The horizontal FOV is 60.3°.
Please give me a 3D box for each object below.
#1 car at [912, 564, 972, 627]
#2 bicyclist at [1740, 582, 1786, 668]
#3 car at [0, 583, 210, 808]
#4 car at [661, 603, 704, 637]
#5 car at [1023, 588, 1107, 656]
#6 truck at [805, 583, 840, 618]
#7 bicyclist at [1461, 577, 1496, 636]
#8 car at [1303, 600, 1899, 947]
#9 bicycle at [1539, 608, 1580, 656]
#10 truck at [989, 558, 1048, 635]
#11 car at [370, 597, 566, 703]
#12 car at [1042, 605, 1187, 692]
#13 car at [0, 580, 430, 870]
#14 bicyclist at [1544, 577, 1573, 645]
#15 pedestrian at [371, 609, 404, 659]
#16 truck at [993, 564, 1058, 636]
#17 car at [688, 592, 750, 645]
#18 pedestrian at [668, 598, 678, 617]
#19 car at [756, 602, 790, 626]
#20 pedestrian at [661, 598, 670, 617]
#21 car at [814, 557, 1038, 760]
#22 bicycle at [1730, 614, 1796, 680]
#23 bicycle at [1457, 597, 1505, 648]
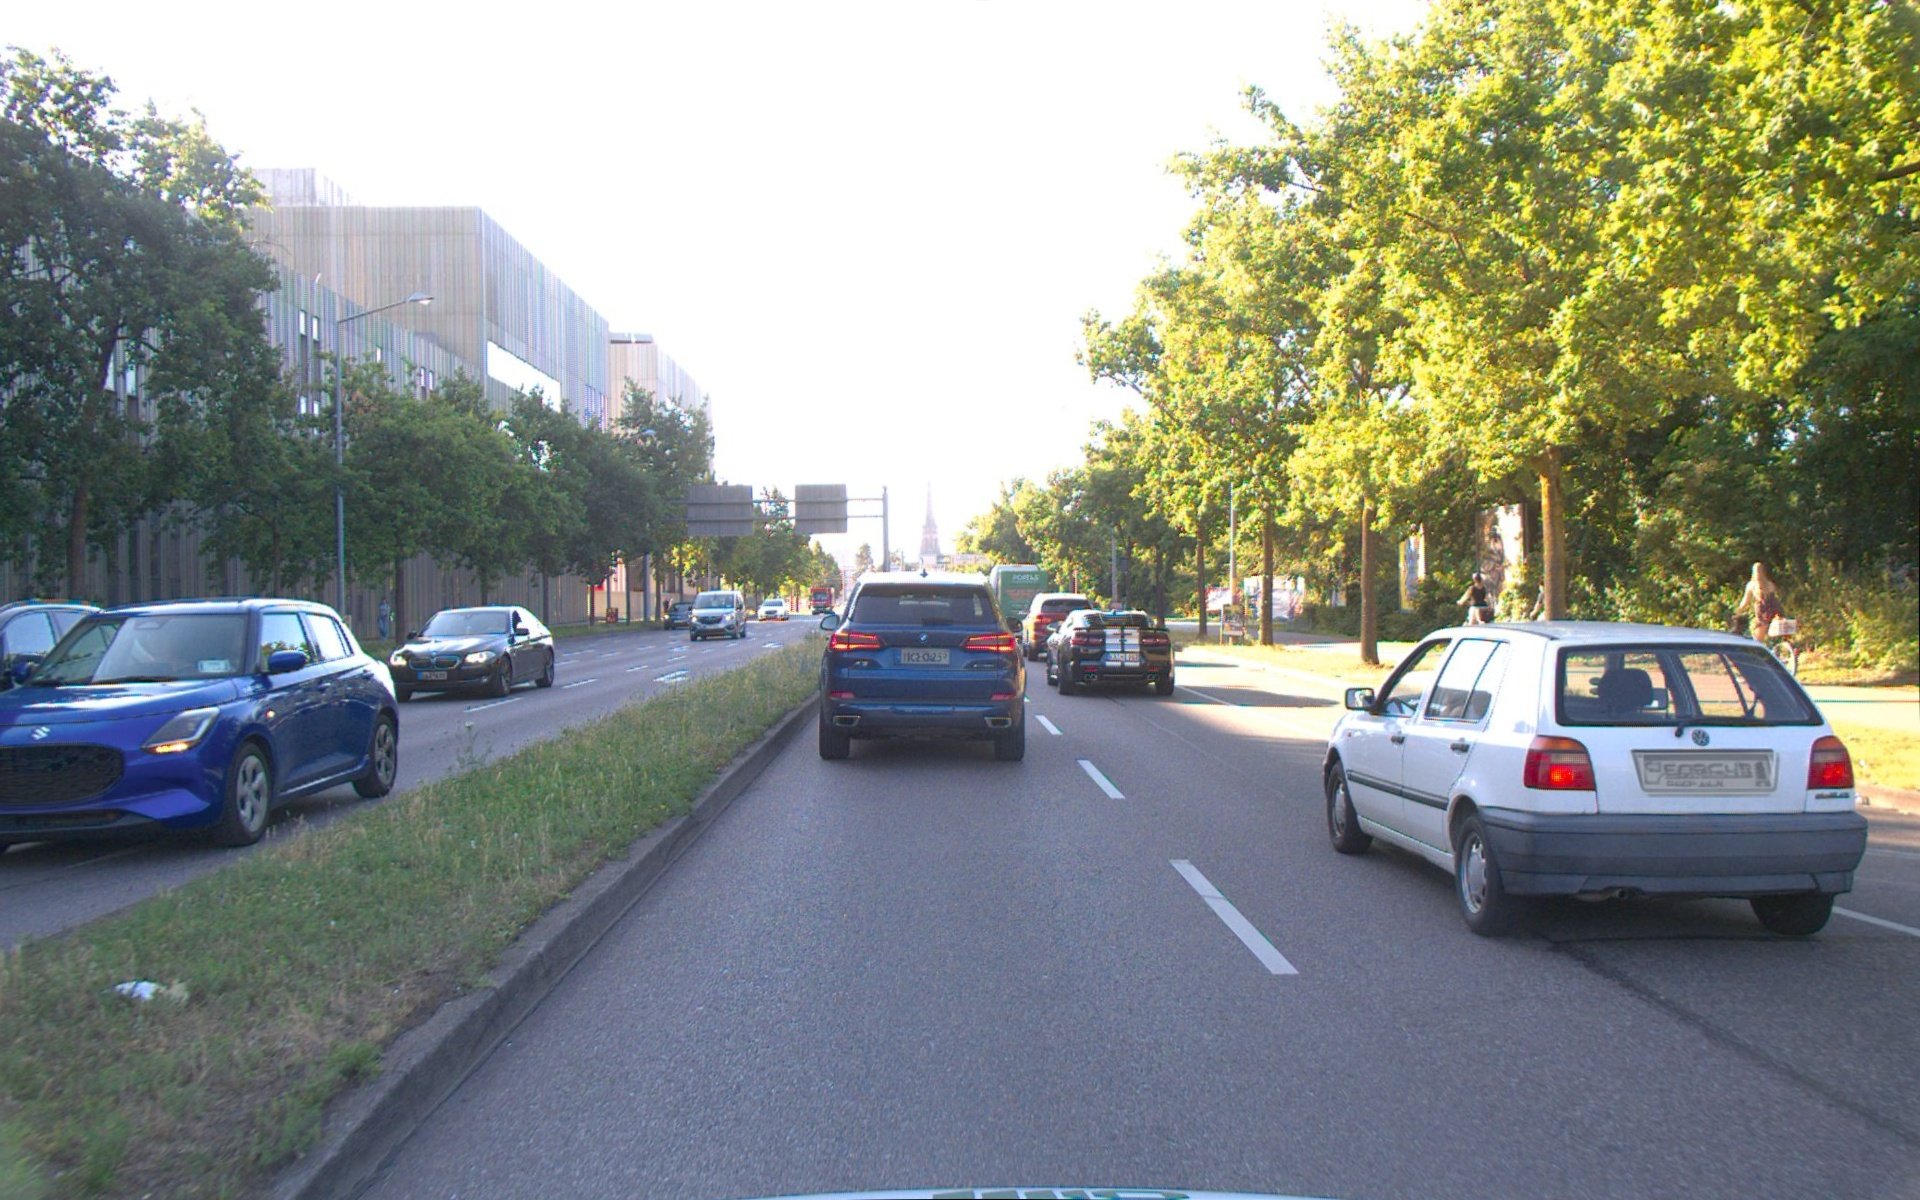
[{"bbox_3d":[-0.806,-0.142,70.964,2.095,2.621,5.080,1,-1,-6],"label":"car"},{"bbox_3d":[11.871,0.374,24.467,0.419,1.254,0.460,-1,-1,-1],"label":"bicyclist"},{"bbox_3d":[-7.941,0.777,13.049,1.954,1.619,4.712,-4,-1,-2],"label":"car"},{"bbox_3d":[-15.481,1.128,92.464,1.721,1.734,4.492,-4,-1,-2],"label":"car"},{"bbox_3d":[2.553,0.556,41.027,1.760,1.586,3.999,1,-1,-1],"label":"car"},{"bbox_3d":[-17.486,0.115,211.188,3.908,4.160,11.443,1,-1,-2],"label":"truck"},{"bbox_3d":[11.860,0.158,37.870,0.532,1.339,0.835,1,-1,-1],"label":"bicyclist"},{"bbox_3d":[3.115,0.764,8.962,1.547,1.438,4.060,1,-1,-2],"label":"car"},{"bbox_3d":[11.820,0.637,32.640,0.428,0.930,1.026,1,-1,-1],"label":"bicycle"},{"bbox_3d":[2.119,-0.094,61.049,1.955,2.715,3.999,1,-1,-1],"label":"truck"},{"bbox_3d":[-8.161,0.811,27.912,1.954,1.477,4.796,-5,-1,-2],"label":"car"},{"bbox_3d":[2.471,0.773,27.388,1.953,1.317,3.999,1,-1,-1],"label":"car"},{"bbox_3d":[-4.965,0.724,10.870,1.668,1.477,3.857,-4,-1,-1],"label":"car"},{"bbox_3d":[11.823,0.212,32.674,0.419,1.332,0.460,1,-1,-1],"label":"bicyclist"},{"bbox_3d":[-23.734,1.427,68.616,0.998,2.049,0.961,1,-1,-1],"label":"pedestrian"},{"bbox_3d":[2.187,0.030,56.261,1.955,2.356,3.999,1,-1,-1],"label":"truck"},{"bbox_3d":[-9.122,0.706,62.880,1.721,1.808,4.492,-4,-1,-2],"label":"car"},{"bbox_3d":[-23.753,0.602,136.973,0.614,1.548,0.718,1,-1,2],"label":"pedestrian"},{"bbox_3d":[-13.040,0.991,115.511,1.954,1.477,4.712,-4,-1,-2],"label":"car"},{"bbox_3d":[-24.504,0.603,137.490,0.614,1.548,0.718,1,-1,2],"label":"pedestrian"},{"bbox_3d":[-0.330,0.555,16.815,1.953,1.764,4.531,1,-1,-1],"label":"car"},{"bbox_3d":[11.872,0.687,24.471,0.428,0.930,1.026,-2,-1,-1],"label":"bicycle"},{"bbox_3d":[11.860,0.522,37.710,0.553,1.132,1.621,1,-1,-1],"label":"bicycle"}]
